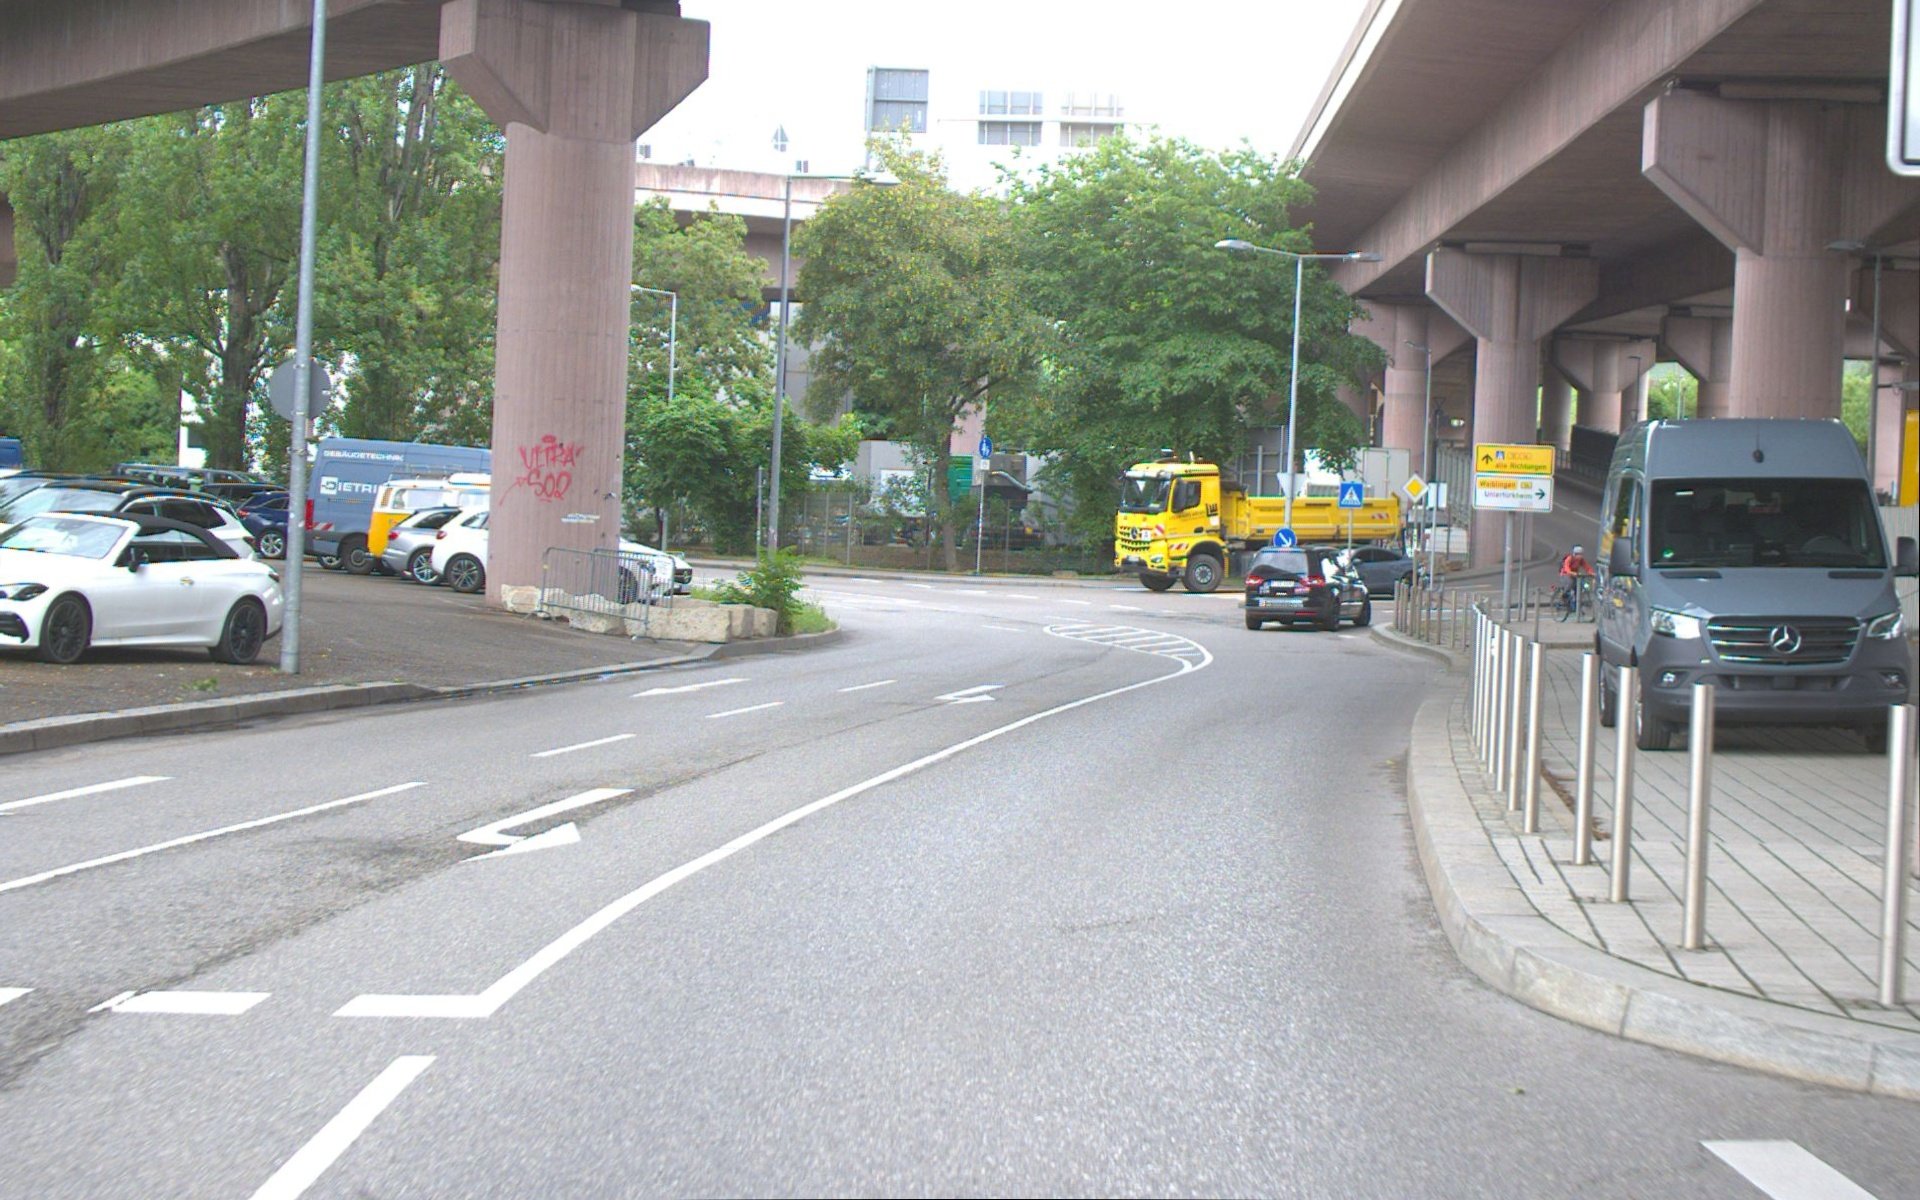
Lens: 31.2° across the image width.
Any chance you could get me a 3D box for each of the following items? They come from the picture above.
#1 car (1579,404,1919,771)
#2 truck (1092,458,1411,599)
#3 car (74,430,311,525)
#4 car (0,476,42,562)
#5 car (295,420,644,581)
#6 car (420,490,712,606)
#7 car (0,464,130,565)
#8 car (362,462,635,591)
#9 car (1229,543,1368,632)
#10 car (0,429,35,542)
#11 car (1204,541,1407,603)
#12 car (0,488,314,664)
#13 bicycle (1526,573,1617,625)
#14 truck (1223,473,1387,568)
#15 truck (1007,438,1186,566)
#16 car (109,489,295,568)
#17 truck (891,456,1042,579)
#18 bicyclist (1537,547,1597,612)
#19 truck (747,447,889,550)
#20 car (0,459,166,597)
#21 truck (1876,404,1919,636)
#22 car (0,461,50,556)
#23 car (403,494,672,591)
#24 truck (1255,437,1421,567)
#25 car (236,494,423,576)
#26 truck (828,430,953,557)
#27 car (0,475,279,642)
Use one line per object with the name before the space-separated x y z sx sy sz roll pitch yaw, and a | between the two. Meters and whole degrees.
car | 6.237 -0.163 27.802 1.994 2.604 6.073 1 1 7
truck | 7.863 -1.932 92.281 8.218 3.468 2.937 -1 6 -31
car | -18.560 -2.955 83.283 5.091 2.064 2.259 2 0 6
car | -16.999 -1.360 56.848 1.645 1.436 3.731 1 1 20
car | -9.439 -1.925 66.439 6.176 2.715 2.368 3 2 5
car | -6.624 -0.886 57.950 4.384 1.600 1.953 5 2 15
car | -15.419 -1.365 54.019 1.860 1.482 4.882 5 3 26
car | -8.541 -1.373 63.742 4.558 2.104 1.850 4 2 11
car | 7.033 -0.282 71.062 1.995 1.673 4.557 3 2 16
car | -20.687 -2.292 67.677 2.120 2.247 5.012 1 1 23
car | 8.807 -0.704 87.479 4.917 1.496 2.173 0 2 -36
car | -8.544 -0.251 33.430 1.996 1.474 4.822 7 1 23
bicycle | 13.353 -0.026 75.107 0.802 1.094 2.131 0 1 -28
truck | 11.421 -2.685 114.475 2.914 2.888 6.561 0 3 -19
truck | 4.350 -3.248 112.047 3.065 3.854 8.052 0 3 -19
car | -17.229 -1.624 78.298 3.986 1.724 2.001 1 1 -9
truck | 0.148 -2.806 116.869 3.064 3.949 6.925 2 1 -17
bicyclist | 13.282 -0.449 75.237 0.796 1.400 1.067 0 1 -28
truck | -5.575 -3.961 132.957 3.054 3.606 7.919 1 3 -21
car | -12.219 -0.940 43.763 1.859 1.685 4.158 3 1 26
truck | 23.779 -1.613 75.171 3.146 4.900 8.694 3 2 45
car | -18.158 -1.624 60.310 1.898 1.670 4.148 2 2 28
car | -7.481 -1.028 61.040 4.247 1.366 1.999 5 2 13
truck | 13.271 -3.525 121.428 3.064 4.284 8.052 1 3 -14
car | -13.846 -1.427 75.671 3.986 1.734 2.022 1 1 -9
truck | -2.815 -4.305 136.525 3.202 4.763 8.052 1 3 -14
car | -9.599 -0.463 37.464 1.996 1.577 4.394 7 2 23
